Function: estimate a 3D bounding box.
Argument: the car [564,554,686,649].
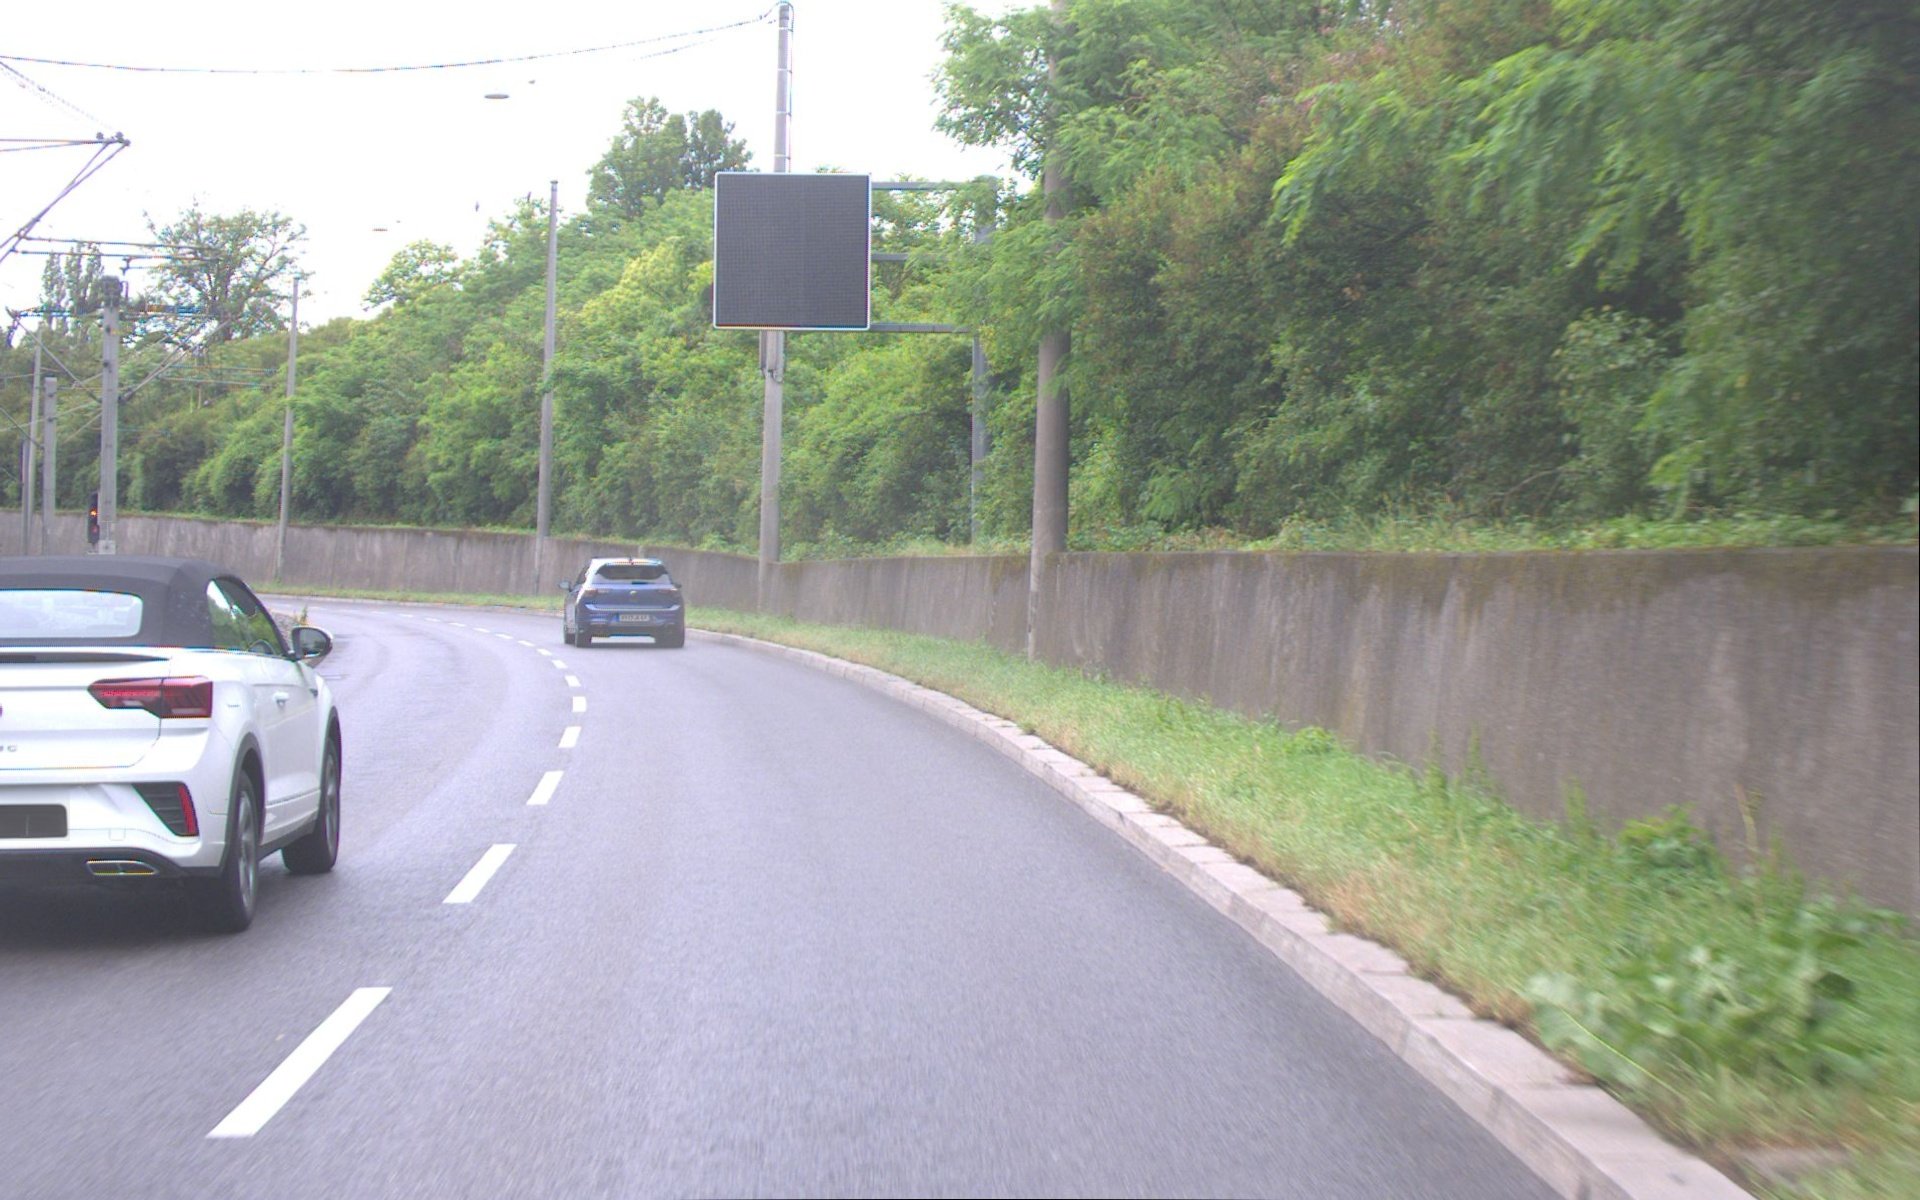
[{"bbox_3d":[-5.557,0.006,56.691,1.763,1.496,4.001,1,1,-9],"label":"car"}]

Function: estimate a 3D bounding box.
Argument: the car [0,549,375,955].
[{"bbox_3d":[-3.807,0.542,15.183,1.871,1.519,4.541,0,1,-3],"label":"car"}]
